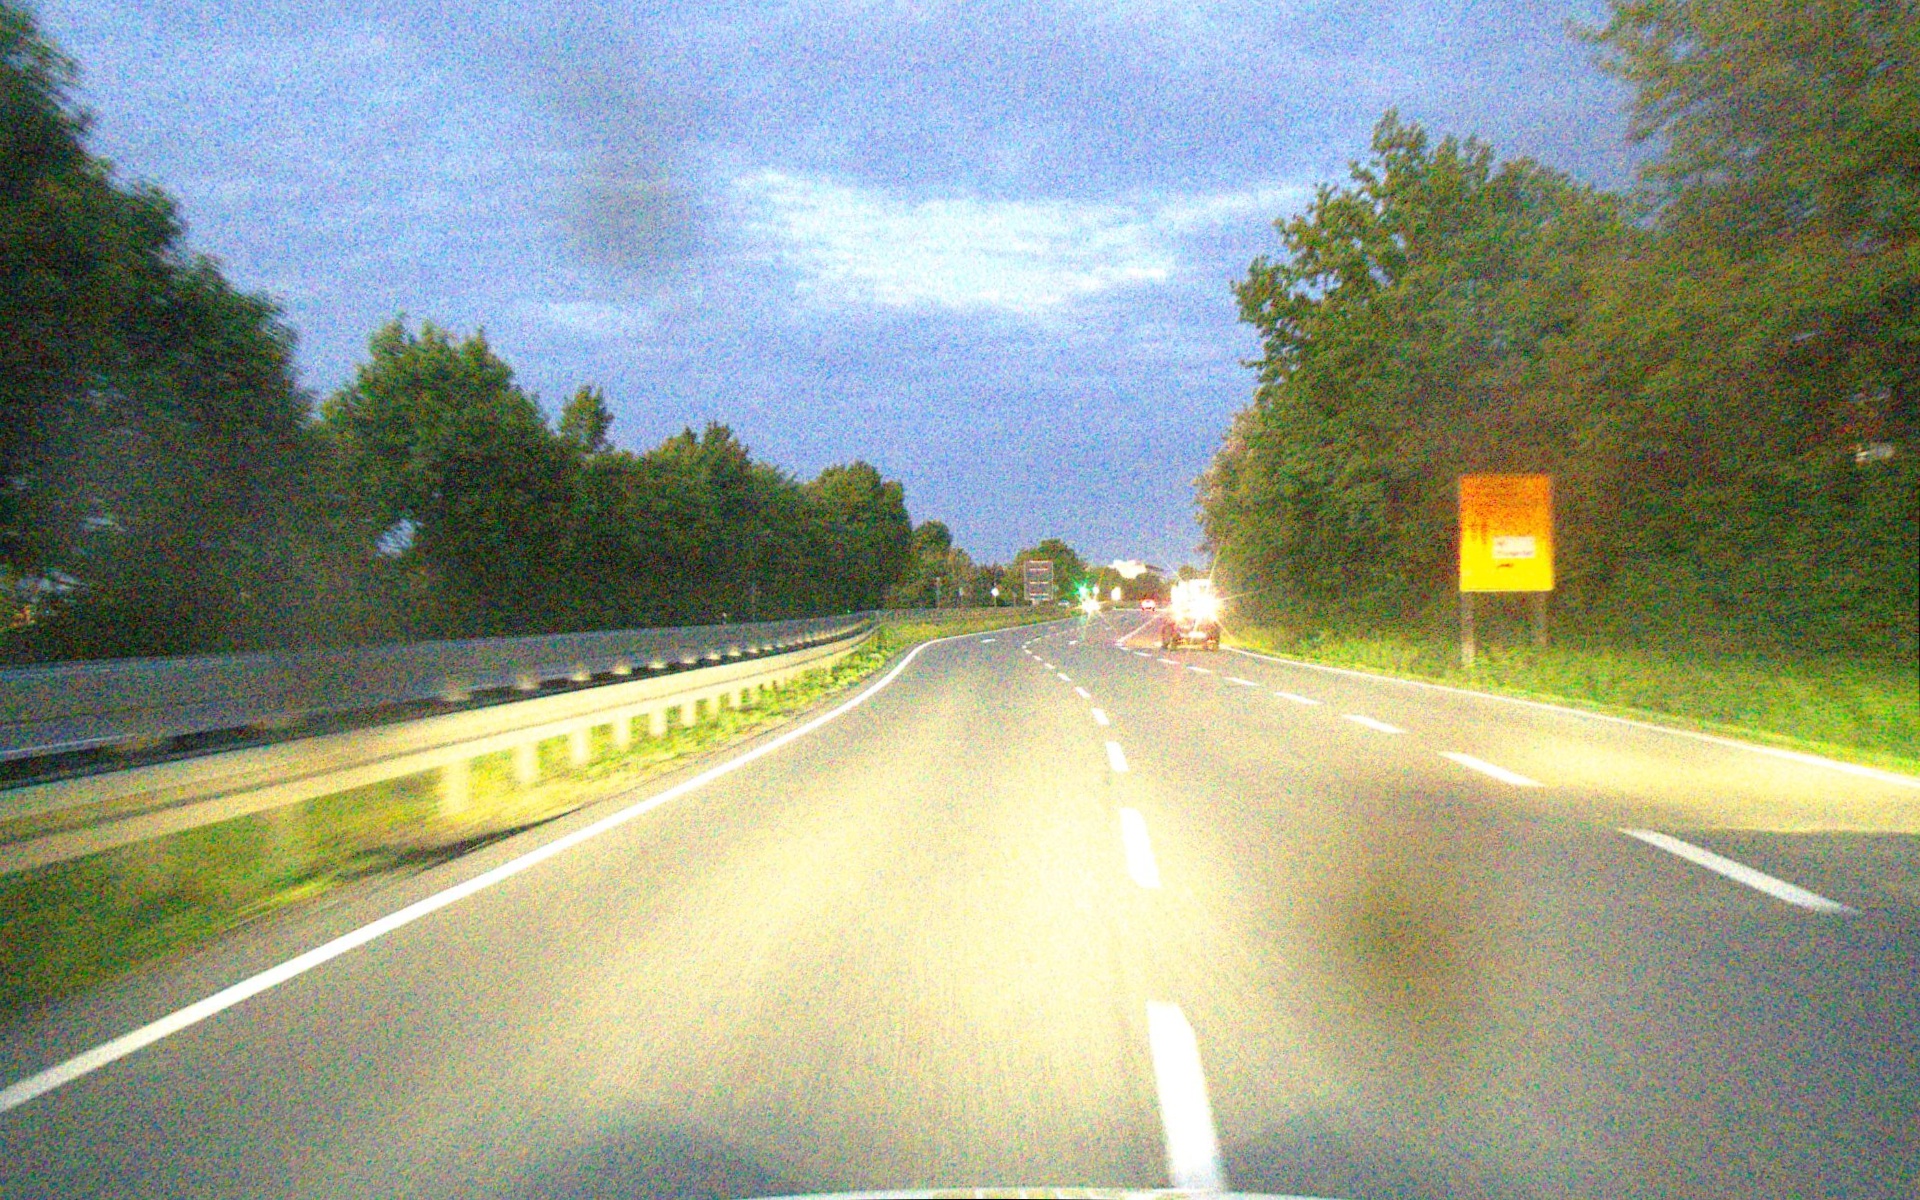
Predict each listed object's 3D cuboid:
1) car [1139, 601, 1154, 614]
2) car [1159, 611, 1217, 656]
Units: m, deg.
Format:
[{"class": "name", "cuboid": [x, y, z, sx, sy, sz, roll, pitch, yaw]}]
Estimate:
[{"class": "car", "cuboid": [27.650, 1.168, 245.335, 1.951, 1.780, 4.002, -4, -2, 6]}, {"class": "car", "cuboid": [7.777, 1.111, 56.803, 1.716, 1.478, 4.435, 0, 0, 5]}]
